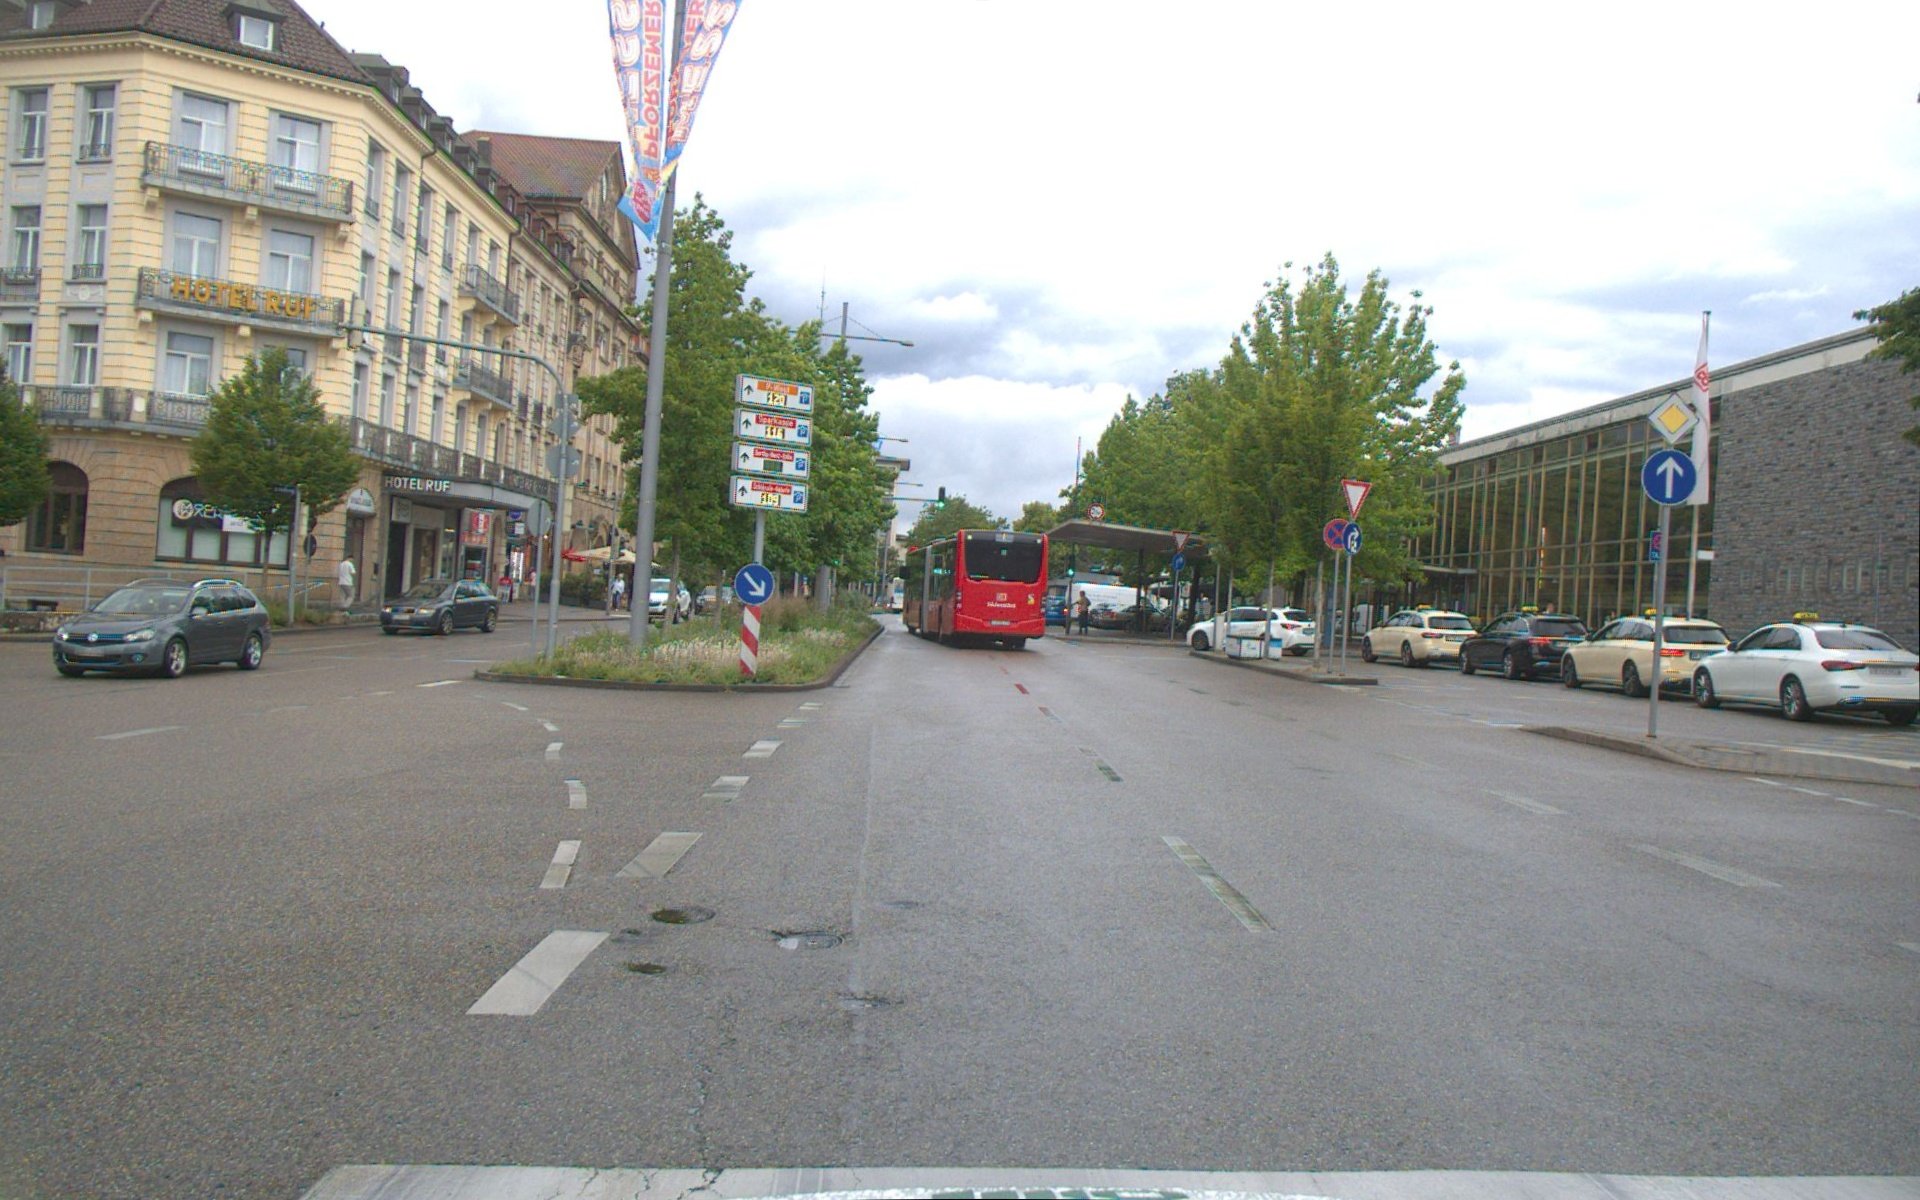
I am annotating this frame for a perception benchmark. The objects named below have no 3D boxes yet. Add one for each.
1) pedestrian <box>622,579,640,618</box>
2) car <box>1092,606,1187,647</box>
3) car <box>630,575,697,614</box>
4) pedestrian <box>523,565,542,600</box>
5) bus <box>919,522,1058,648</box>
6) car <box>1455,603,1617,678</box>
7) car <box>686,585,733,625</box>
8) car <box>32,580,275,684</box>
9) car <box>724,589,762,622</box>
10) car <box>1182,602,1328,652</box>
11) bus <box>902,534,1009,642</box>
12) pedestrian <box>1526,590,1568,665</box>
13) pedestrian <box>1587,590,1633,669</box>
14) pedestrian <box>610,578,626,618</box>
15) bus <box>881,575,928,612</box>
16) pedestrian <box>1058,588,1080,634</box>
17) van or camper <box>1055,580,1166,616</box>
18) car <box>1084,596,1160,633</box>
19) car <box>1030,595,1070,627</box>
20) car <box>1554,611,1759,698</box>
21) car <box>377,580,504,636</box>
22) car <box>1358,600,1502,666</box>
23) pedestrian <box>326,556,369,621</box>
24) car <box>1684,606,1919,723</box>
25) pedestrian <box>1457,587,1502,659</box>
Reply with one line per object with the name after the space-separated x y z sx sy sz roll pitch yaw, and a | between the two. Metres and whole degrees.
-15.019 -0.061 75.462 0.661 1.731 0.633 2 0 -1 | pedestrian
8.946 1.302 82.394 4.273 1.890 1.988 2 0 -21 | car
-11.348 -0.229 63.519 1.718 1.393 4.061 2 1 2 | car
-19.223 -0.780 74.334 0.656 1.537 0.512 2 0 -39 | pedestrian
0.653 -0.411 47.417 2.691 3.229 8.106 1 0 -8 | bus
13.120 0.885 38.003 1.875 1.551 4.740 1 0 -3 | car
-11.949 0.228 78.978 1.955 1.789 3.995 2 0 -6 | car
-12.619 0.441 26.172 1.718 1.466 4.061 2 1 2 | car
-12.529 0.327 95.674 1.955 1.822 3.996 2 0 -5 | car
9.095 0.811 51.191 1.764 1.409 4.303 1 0 -41 | car
-0.315 -0.388 55.511 2.689 3.229 10.184 1 0 -5 | bus
16.413 0.753 46.280 0.795 2.049 0.921 2 0 0 | pedestrian
17.339 0.781 44.131 0.795 2.049 0.921 2 0 -2 | pedestrian
-15.600 -0.089 75.438 0.563 1.762 0.609 2 0 -1 | pedestrian
-5.360 -0.602 156.492 3.686 3.265 15.512 1 0 -4 | bus
4.392 0.443 66.724 0.705 1.822 0.663 2 0 -12 | pedestrian
9.409 -0.088 102.973 6.675 2.049 2.364 1 -1 -27 | van or camper
9.471 0.846 96.779 3.929 2.049 1.988 2 0 -21 | car
4.625 0.542 85.459 1.779 1.557 3.999 1 0 -1 | car
13.243 0.989 31.778 1.809 1.477 4.664 1 0 -2 | car
-14.027 0.185 44.895 1.717 1.393 4.063 2 1 7 | car
12.552 0.849 44.476 1.956 1.628 4.814 1 0 -8 | car
-18.411 -0.333 49.728 0.845 1.911 1.022 2 0 -1 | pedestrian
13.372 0.946 26.062 1.739 1.617 4.614 1 0 -2 | car
14.999 0.657 47.758 0.801 2.049 0.914 2 0 -25 | pedestrian
